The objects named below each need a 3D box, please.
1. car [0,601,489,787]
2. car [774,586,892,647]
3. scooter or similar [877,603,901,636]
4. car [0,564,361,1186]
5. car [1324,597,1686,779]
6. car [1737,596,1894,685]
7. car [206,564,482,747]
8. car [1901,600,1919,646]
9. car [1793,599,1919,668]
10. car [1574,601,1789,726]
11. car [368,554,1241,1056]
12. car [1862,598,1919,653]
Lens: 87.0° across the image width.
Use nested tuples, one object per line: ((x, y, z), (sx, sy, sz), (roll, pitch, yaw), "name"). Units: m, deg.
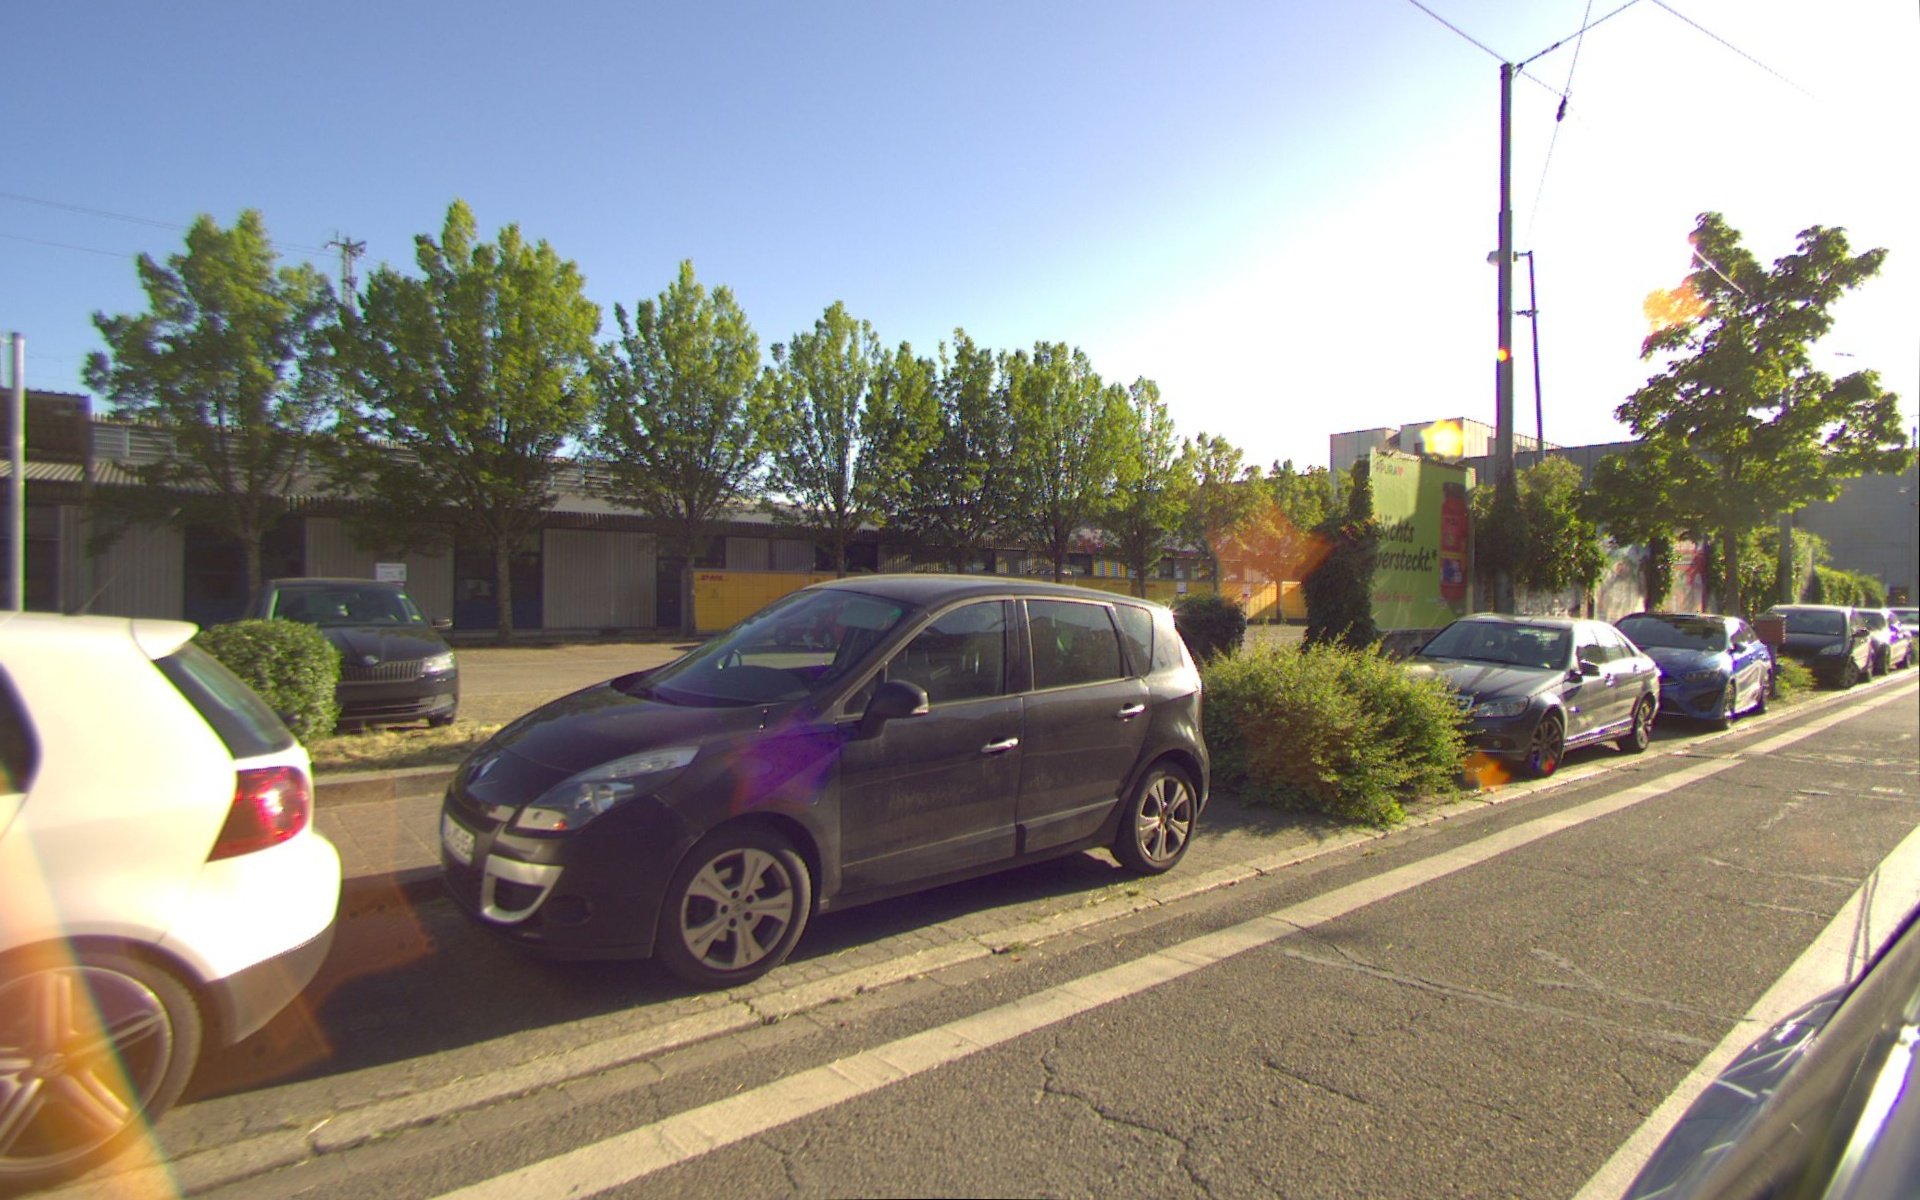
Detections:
((-5.047, 0.549, 7.007), (3.003, 1.046, 1.311), (0, -1, -41), "car")
((-3.449, 0.396, 27.078), (1.708, 1.515, 3.321), (0, 1, -37), "car")
((-2.119, 0.576, 30.251), (0.321, 0.986, 1.178), (-1, -1, 15), "scooter or similar")
((-3.912, 0.662, 2.302), (4.176, 1.531, 1.731), (0, 2, -40), "car")
((5.742, 0.733, 10.423), (4.418, 1.483, 1.731), (0, -1, -40), "car")
((16.789, 0.703, 19.802), (3.749, 1.511, 1.827), (0, 2, -42), "car")
((-6.102, 0.458, 9.838), (1.728, 1.418, 3.708), (0, -1, -41), "car")
((33.492, 0.746, 34.198), (4.001, 1.491, 1.877), (0, -1, -38), "car")
((21.636, 0.730, 24.217), (4.559, 1.470, 1.828), (0, 0, -40), "car")
((10.295, 0.785, 14.317), (4.269, 1.483, 1.729), (0, -1, -44), "car")
((-0.515, 0.624, 5.325), (4.266, 1.624, 1.731), (0, 2, -40), "car")
((27.910, 0.697, 29.415), (4.519, 1.503, 1.828), (0, -1, -39), "car")
